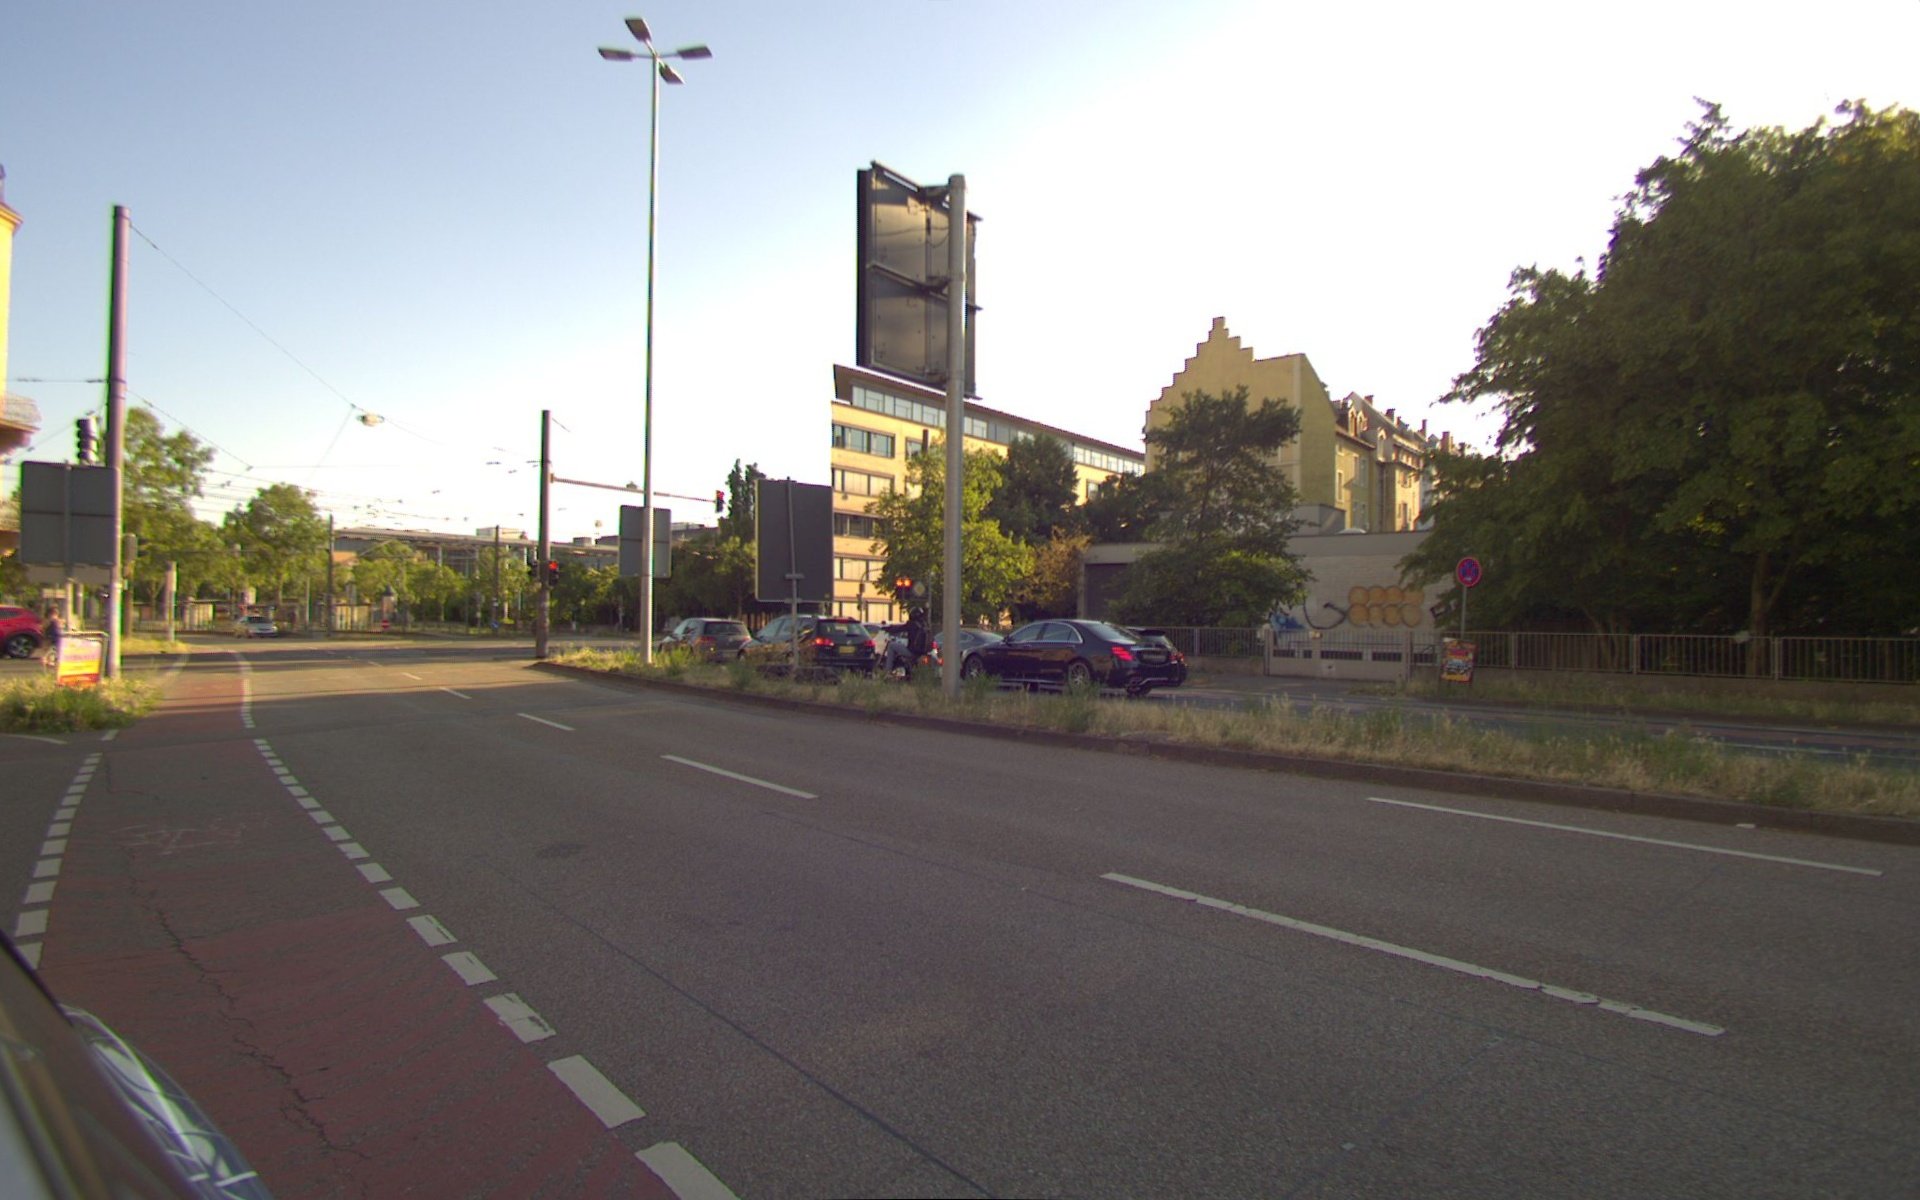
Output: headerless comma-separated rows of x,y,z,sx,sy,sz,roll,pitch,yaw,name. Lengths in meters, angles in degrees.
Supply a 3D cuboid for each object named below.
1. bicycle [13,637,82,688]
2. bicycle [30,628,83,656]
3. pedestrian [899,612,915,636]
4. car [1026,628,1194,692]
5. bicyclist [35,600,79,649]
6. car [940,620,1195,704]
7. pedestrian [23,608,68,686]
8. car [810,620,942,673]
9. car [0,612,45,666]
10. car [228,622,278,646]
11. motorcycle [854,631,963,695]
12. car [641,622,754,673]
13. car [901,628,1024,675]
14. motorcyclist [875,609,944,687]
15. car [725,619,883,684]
-19.525,1.313,21.685,0.393,1.037,1.677,1,-2,-17,bicycle
-34.381,1.580,38.560,1.054,1.032,2.983,2,-2,-34,bicycle
-4.471,2.067,85.803,0.930,2.029,0.976,-1,-2,40,pedestrian
3.740,1.461,25.713,1.831,1.475,4.005,1,-2,-41,car
-34.305,0.936,38.475,1.054,1.856,1.306,2,-2,-35,bicyclist
2.043,1.179,20.834,1.969,1.507,5.299,2,-2,-41,car
-19.630,0.999,21.728,0.481,1.644,0.527,1,-2,-17,pedestrian
-2.322,1.207,27.150,1.696,1.329,3.902,2,-2,-37,car
-30.175,1.146,29.822,1.814,1.627,4.421,0,-2,29,car
-50.106,2.397,71.730,3.998,1.586,1.973,-1,-2,41,car
-1.013,1.158,19.099,0.847,1.116,2.476,2,-2,-35,motorcycle
-7.362,1.271,28.088,1.695,1.306,4.260,2,-2,-34,car
0.008,1.519,30.674,1.696,1.306,3.902,2,-2,-37,car
-0.955,0.891,19.028,0.840,1.409,1.064,2,-2,-35,motorcyclist
-3.580,1.100,22.612,1.696,1.306,4.387,2,-2,-35,car
